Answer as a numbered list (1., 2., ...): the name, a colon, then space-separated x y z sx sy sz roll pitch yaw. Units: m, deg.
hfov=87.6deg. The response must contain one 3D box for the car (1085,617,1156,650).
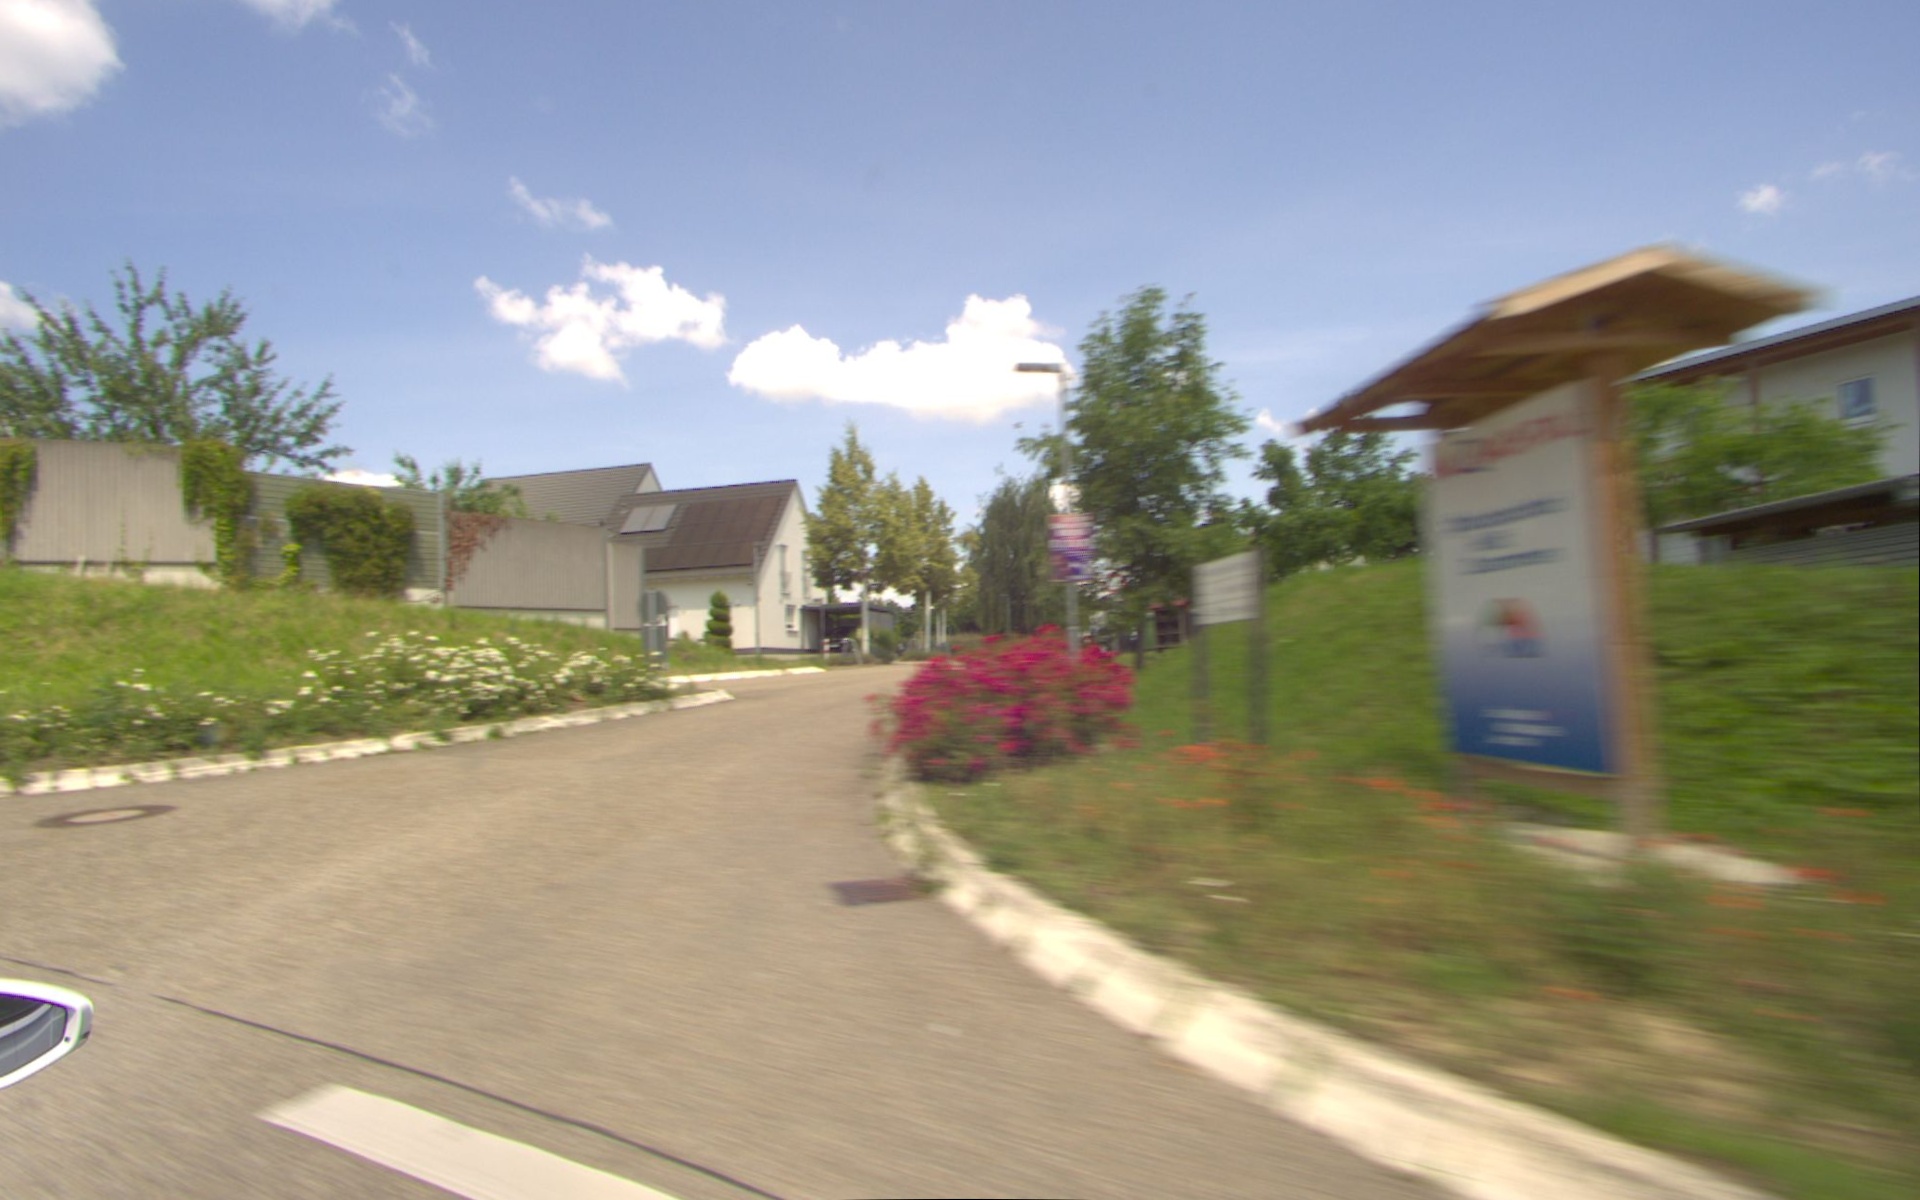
1. car: 9.742 2.046 60.994 4.146 1.789 2.003 1 -5 6

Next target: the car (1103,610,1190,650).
1. car: 9.344 1.536 50.393 4.146 1.789 2.003 1 -5 6

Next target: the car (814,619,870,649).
1. car: -6.131 1.805 52.454 1.859 1.422 4.241 1 -4 9

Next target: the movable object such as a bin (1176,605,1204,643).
1. movable object such as a bin: 7.139 0.752 31.017 0.779 1.131 0.760 0 -5 18

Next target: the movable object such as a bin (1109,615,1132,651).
1. movable object such as a bin: 5.058 1.033 31.480 0.616 1.093 0.625 0 -5 18

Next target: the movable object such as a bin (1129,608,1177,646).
1. movable object such as a bin: 6.021 0.836 31.145 1.342 1.116 0.968 0 -5 18
